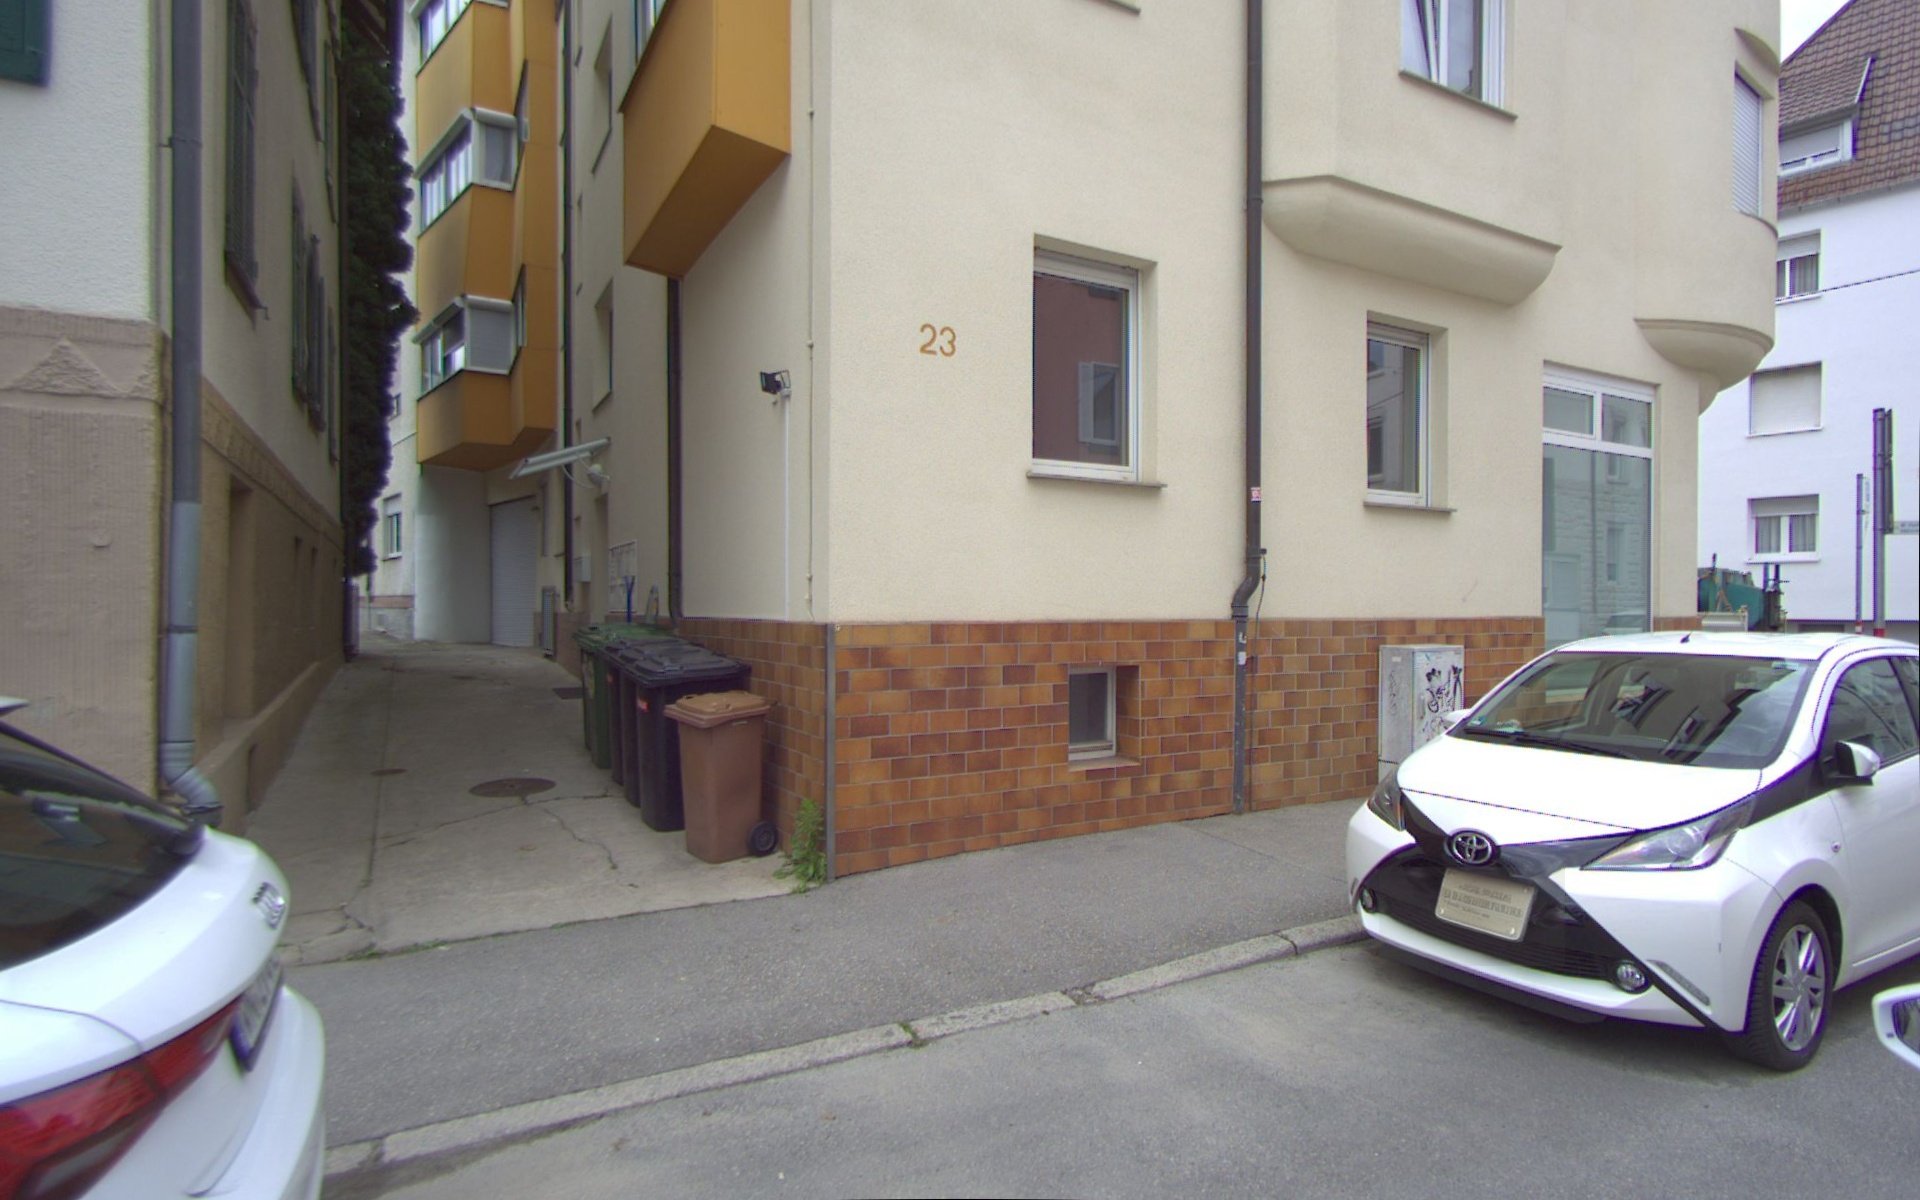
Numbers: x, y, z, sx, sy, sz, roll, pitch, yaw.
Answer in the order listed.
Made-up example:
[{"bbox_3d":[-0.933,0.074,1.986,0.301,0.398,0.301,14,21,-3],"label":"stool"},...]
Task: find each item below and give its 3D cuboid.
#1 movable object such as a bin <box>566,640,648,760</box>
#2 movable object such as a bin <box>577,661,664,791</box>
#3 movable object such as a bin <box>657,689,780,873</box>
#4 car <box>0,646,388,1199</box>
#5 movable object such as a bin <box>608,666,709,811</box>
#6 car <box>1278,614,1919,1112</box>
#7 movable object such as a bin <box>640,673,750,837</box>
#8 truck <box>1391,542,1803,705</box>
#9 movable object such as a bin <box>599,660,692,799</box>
[{"bbox_3d":[-3.008,0.831,8.549,0.541,0.937,0.500,0,2,-34],"label":"movable object such as a bin"},{"bbox_3d":[-2.711,0.982,8.013,0.541,0.937,0.500,0,2,-34],"label":"movable object such as a bin"},{"bbox_3d":[-1.409,1.022,5.845,0.541,0.937,0.500,0,2,-34],"label":"movable object such as a bin"},{"bbox_3d":[-2.971,0.757,0.800,4.318,1.451,1.744,2,-4,-30],"label":"car"},{"bbox_3d":[-2.109,0.938,7.010,0.541,0.906,0.500,0,2,-34],"label":"movable object such as a bin"},{"bbox_3d":[3.432,0.841,4.624,3.771,1.452,1.659,2,-2,-30],"label":"car"},{"bbox_3d":[-1.711,0.972,6.475,0.541,0.937,0.500,0,2,-34],"label":"movable object such as a bin"},{"bbox_3d":[11.756,0.410,19.120,2.296,2.585,6.223,2,-1,-36],"label":"truck"},{"bbox_3d":[-2.359,0.946,7.525,0.541,0.937,0.500,0,2,-34],"label":"movable object such as a bin"}]
